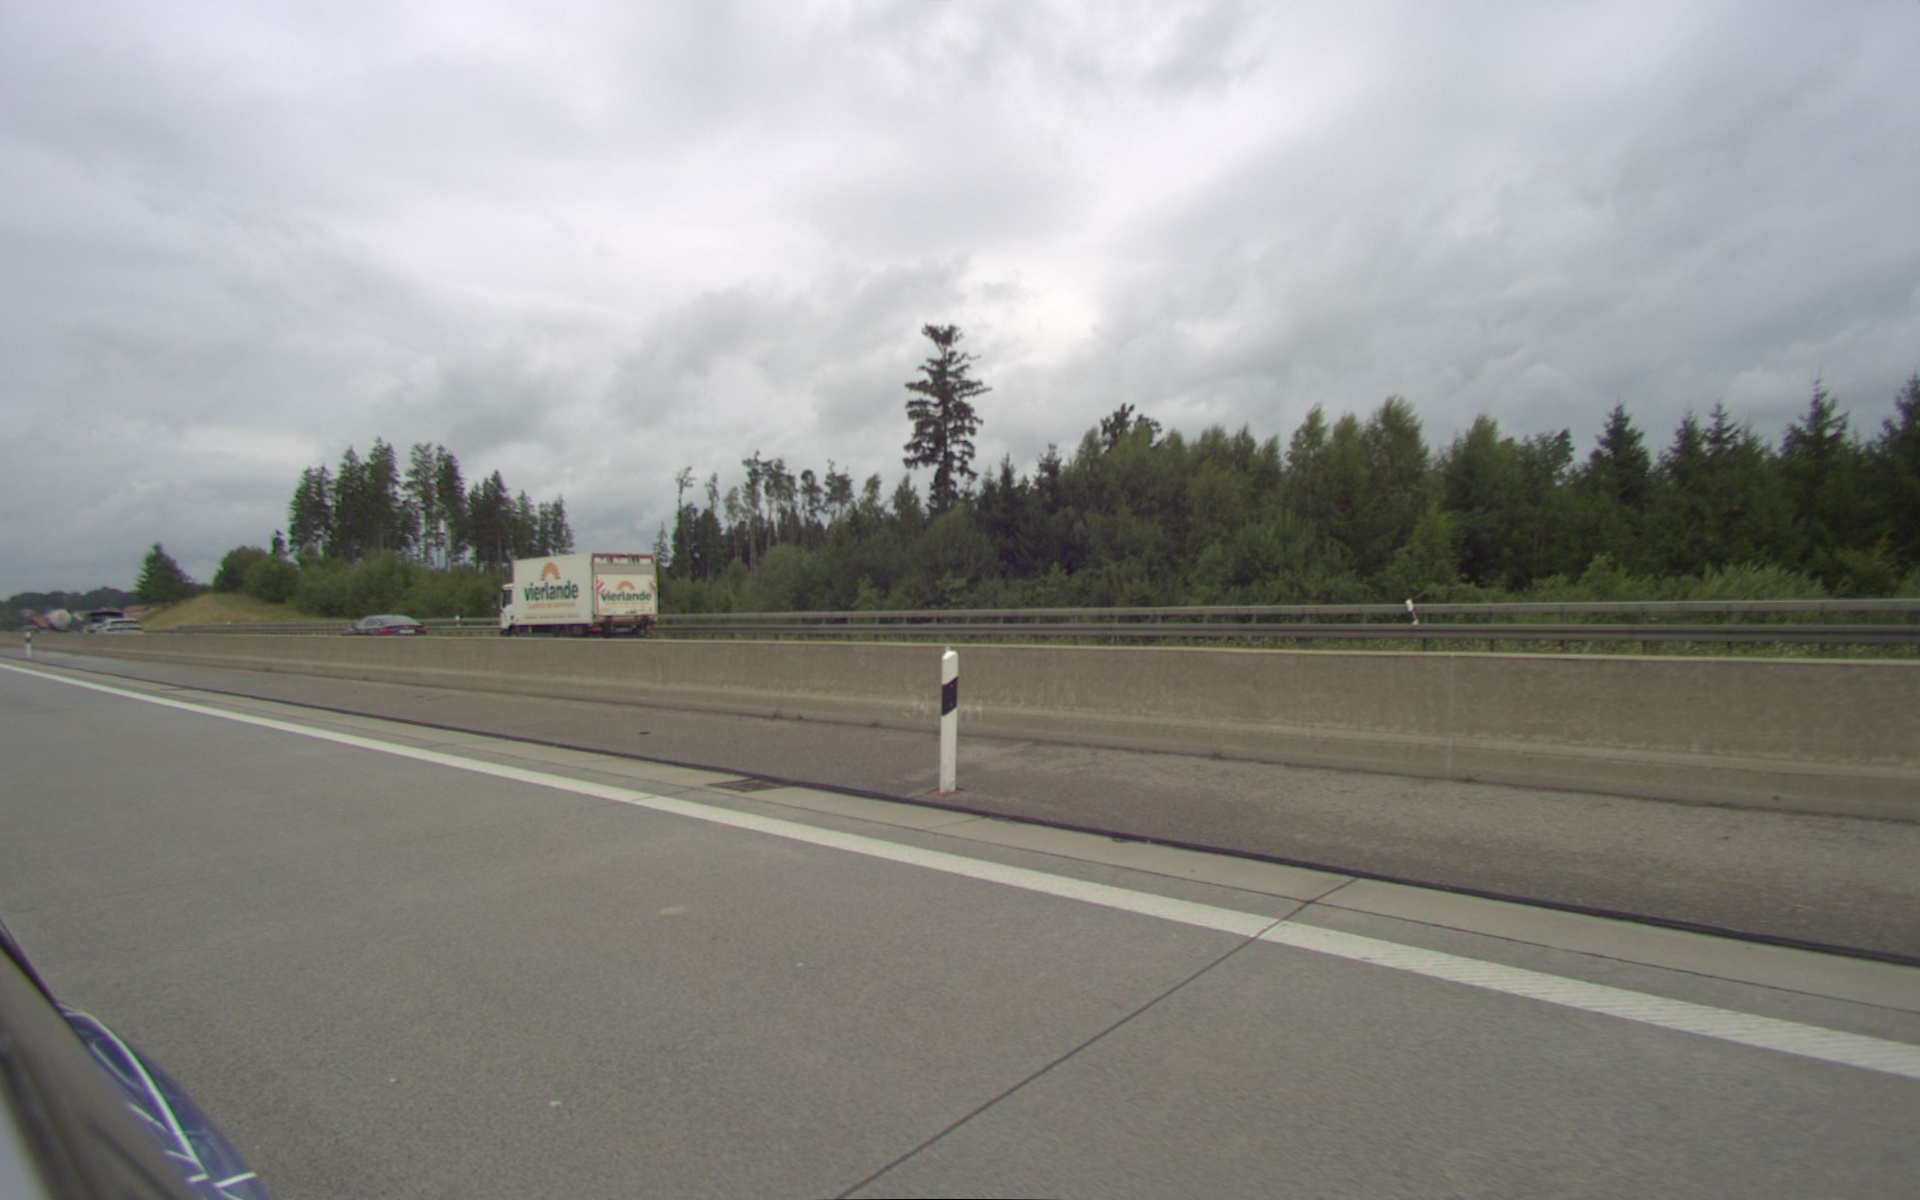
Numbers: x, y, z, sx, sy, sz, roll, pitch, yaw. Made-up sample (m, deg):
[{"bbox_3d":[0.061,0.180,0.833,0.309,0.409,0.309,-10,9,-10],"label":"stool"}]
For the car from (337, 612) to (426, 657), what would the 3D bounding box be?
[{"bbox_3d":[-22.119,1.288,38.609,4.409,1.578,1.612,-2,0,42],"label":"car"}]

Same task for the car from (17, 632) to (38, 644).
[{"bbox_3d":[-126.058,5.091,136.834,5.091,1.545,1.808,-2,0,44],"label":"car"}]

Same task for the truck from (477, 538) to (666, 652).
[{"bbox_3d":[-14.996,-0.087,38.591,8.895,3.893,2.869,-2,-1,41],"label":"truck"}]

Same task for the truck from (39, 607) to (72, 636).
[{"bbox_3d":[-132.694,3.131,148.485,8.851,4.163,2.806,-2,-1,43],"label":"truck"}]

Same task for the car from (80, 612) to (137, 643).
[{"bbox_3d":[-69.006,2.215,81.988,7.515,2.418,2.593,-2,0,43],"label":"car"}]

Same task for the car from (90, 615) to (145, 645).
[{"bbox_3d":[-47.414,1.694,56.942,4.498,1.578,1.724,-2,0,42],"label":"car"}]
